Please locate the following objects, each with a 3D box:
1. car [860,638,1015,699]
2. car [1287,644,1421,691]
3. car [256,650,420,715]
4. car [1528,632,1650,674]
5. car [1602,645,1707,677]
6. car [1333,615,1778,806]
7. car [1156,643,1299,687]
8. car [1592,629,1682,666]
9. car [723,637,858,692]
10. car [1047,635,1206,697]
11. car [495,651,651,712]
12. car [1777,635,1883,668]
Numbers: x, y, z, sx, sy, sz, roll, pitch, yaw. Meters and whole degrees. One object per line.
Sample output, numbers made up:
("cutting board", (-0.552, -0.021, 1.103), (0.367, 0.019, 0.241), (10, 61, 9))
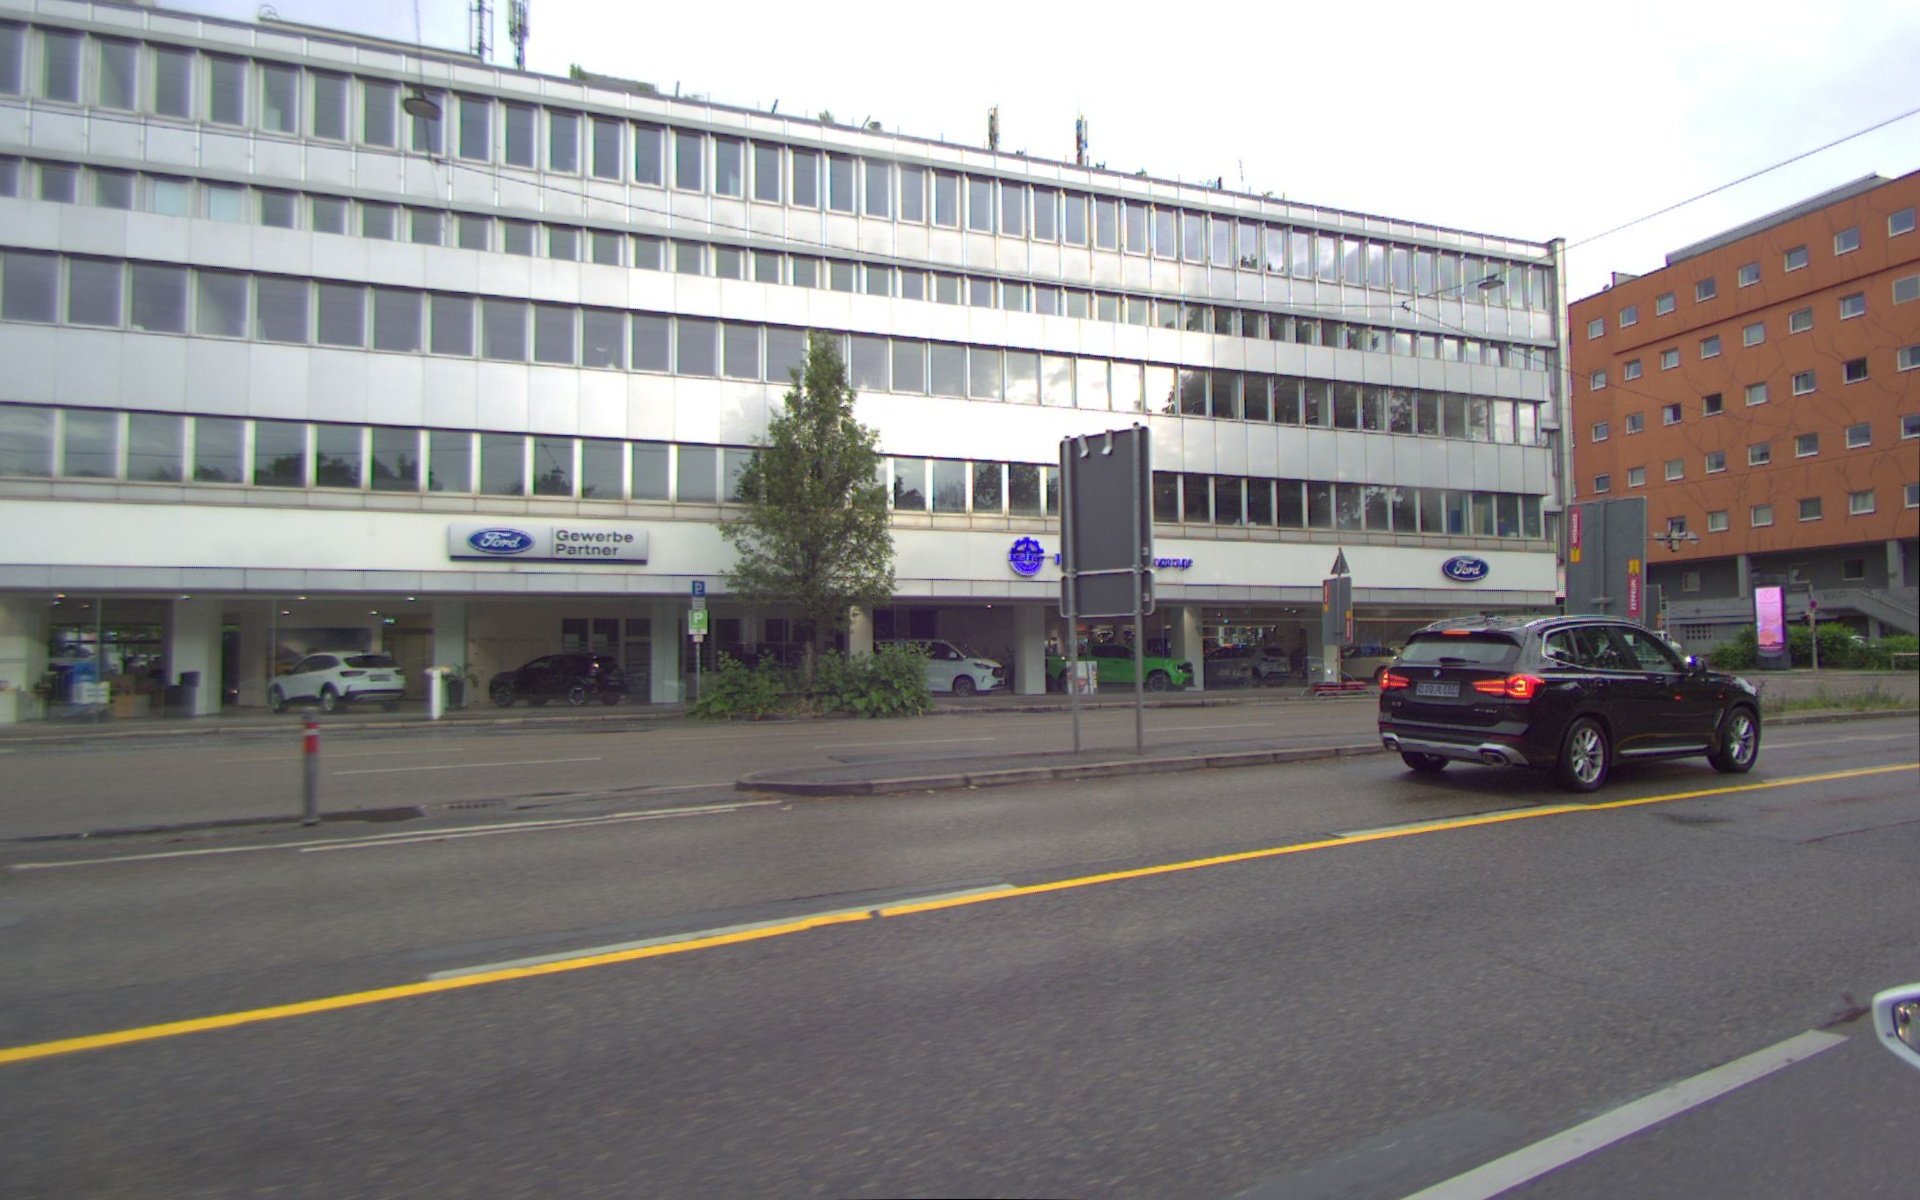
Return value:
("car", (-0.773, 2.357, 34.275), (4.891, 1.921, 2.001), (-3, -5, 20))
("car", (15.987, 2.783, 40.983), (1.981, 1.761, 4.726), (2, -5, -36))
("car", (-17.178, 2.291, 27.732), (4.305, 1.673, 1.853), (-3, -5, 27))
("car", (31.583, 2.726, 50.651), (1.968, 1.869, 5.076), (1, -5, -18))
("car", (34.514, 3.071, 50.020), (1.560, 1.464, 4.134), (0, -5, -19))
("car", (6.342, 0.987, 10.616), (4.611, 1.619, 1.940), (0, -1, -28))
("car", (10.288, 2.559, 39.014), (1.985, 1.540, 5.145), (3, -6, -41))
("car", (40.788, 2.848, 60.529), (4.777, 2.040, 1.991), (1, 1, -19))
("car", (-5.336, 2.057, 31.505), (3.935, 1.594, 1.994), (-4, -5, 34))
("car", (5.833, 2.364, 35.408), (5.112, 2.037, 1.998), (-4, -5, 28))
("car", (-10.929, 2.308, 28.662), (3.933, 1.594, 1.995), (0, -4, -15))
("car", (48.204, 2.881, 55.755), (1.864, 1.638, 4.014), (0, -5, -18))
